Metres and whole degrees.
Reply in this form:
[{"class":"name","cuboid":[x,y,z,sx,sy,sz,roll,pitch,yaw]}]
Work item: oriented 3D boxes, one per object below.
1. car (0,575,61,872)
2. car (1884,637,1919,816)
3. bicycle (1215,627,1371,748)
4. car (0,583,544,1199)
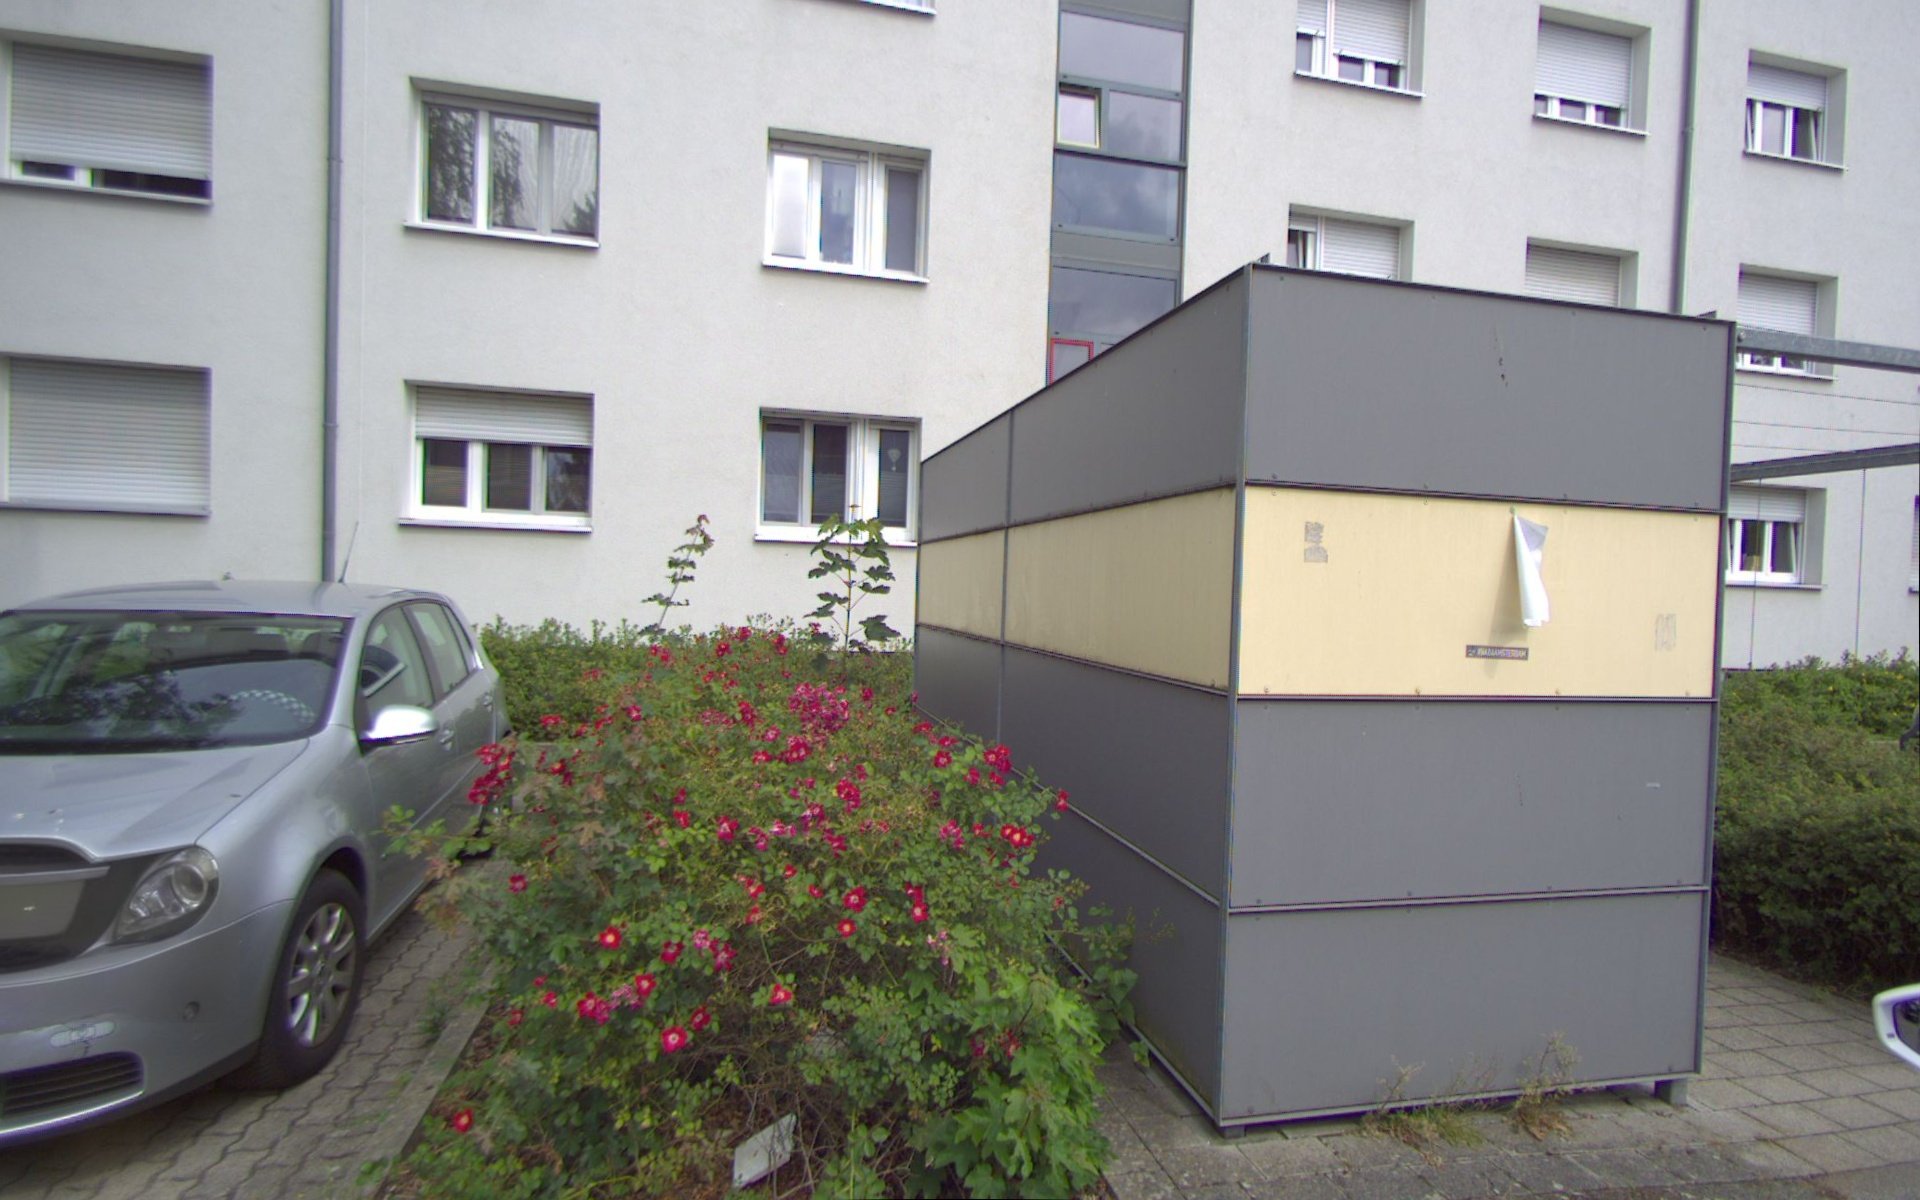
[{"class":"car","cuboid":[-5.401,0.613,3.384,1.751,1.525,4.054,2,0,-13]},{"class":"car","cuboid":[9.082,1.088,7.005,1.623,1.481,3.641,2,0,-9]},{"class":"bicycle","cuboid":[3.570,0.908,10.852,1.518,1.167,0.478,2,0,42]},{"class":"car","cuboid":[-2.965,0.699,3.963,1.751,1.483,4.054,2,0,-13]}]
